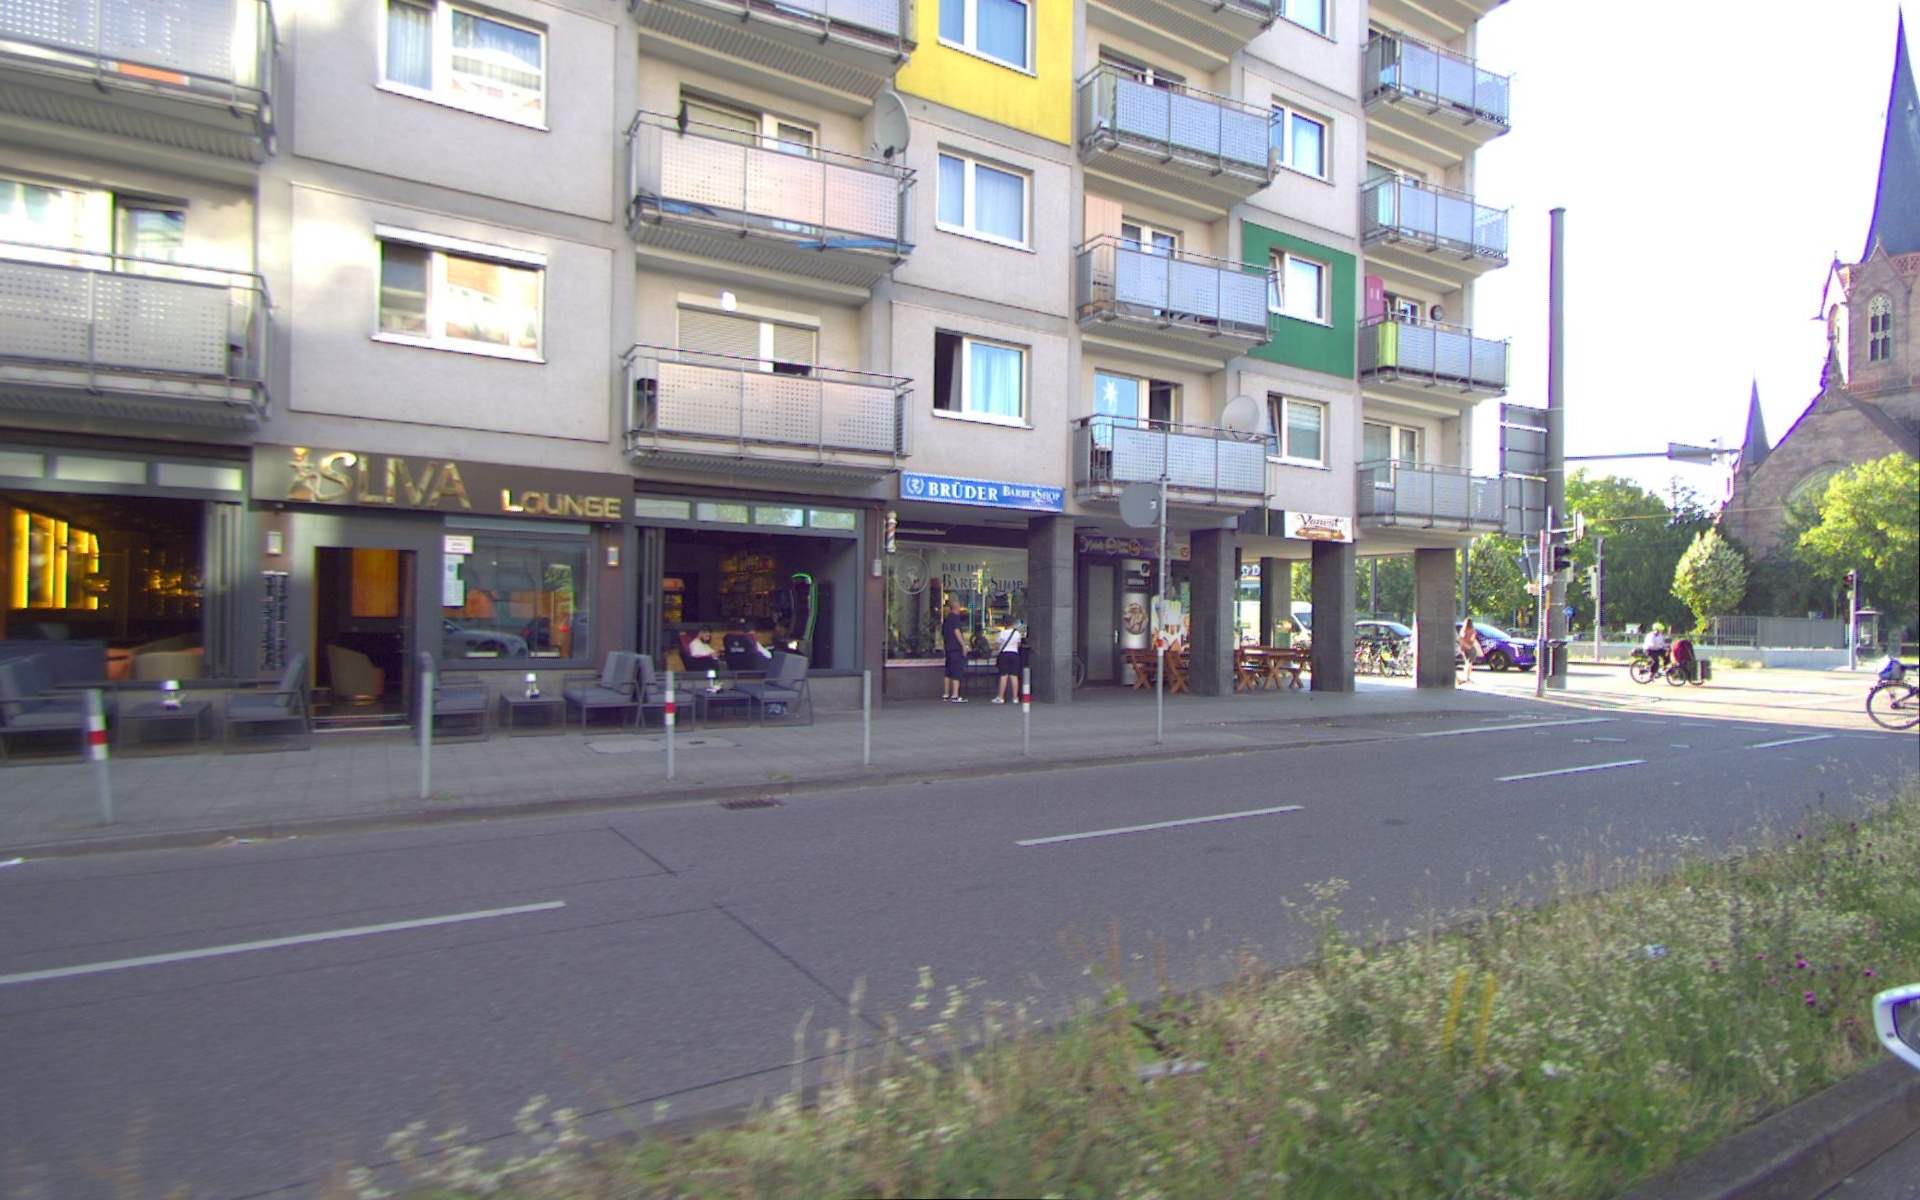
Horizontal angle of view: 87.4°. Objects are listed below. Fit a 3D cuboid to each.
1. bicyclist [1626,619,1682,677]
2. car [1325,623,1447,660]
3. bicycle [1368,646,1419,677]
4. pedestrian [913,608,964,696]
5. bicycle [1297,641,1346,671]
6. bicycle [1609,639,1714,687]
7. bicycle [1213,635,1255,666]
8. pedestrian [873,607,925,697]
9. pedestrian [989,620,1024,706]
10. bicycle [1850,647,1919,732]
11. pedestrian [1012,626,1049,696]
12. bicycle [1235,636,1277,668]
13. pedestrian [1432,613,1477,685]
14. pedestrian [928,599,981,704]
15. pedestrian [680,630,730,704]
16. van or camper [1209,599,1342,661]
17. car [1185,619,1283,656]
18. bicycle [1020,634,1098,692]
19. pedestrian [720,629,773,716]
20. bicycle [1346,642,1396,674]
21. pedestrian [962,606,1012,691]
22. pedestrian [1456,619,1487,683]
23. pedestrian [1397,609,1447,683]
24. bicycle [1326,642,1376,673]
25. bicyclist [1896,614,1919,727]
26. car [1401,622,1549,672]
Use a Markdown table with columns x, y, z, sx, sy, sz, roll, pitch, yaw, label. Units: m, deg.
| x | y | z | sx | sy | sz | roll | pitch | yaw | label |
| --- | --- | --- | --- | --- | --- | --- | --- | --- | --- |
| 18.690 | 1.283 | 27.042 | 1.149 | 1.506 | 0.874 | 1 | -1 | -32 | bicyclist |
| 17.660 | 1.695 | 41.840 | 1.938 | 1.428 | 4.461 | 1 | -1 | -31 | car |
| 12.604 | 1.785 | 29.176 | 1.684 | 0.851 | 0.493 | 1 | -1 | -32 | bicycle |
| -0.399 | 0.960 | 18.819 | 0.778 | 1.599 | 0.558 | 1 | -1 | -30 | pedestrian |
| 11.249 | 1.732 | 31.259 | 1.684 | 0.919 | 0.493 | 1 | -1 | -32 | bicycle |
| 18.777 | 1.657 | 26.918 | 1.149 | 1.183 | 2.032 | 1 | -1 | -32 | bicycle |
| 9.461 | 1.725 | 34.610 | 0.491 | 1.049 | 1.928 | 0 | -1 | 45 | bicycle |
| -1.121 | 0.936 | 18.341 | 0.778 | 1.599 | 0.558 | 1 | -1 | -30 | pedestrian |
| 0.773 | 1.037 | 16.734 | 0.472 | 1.402 | 0.484 | 1 | -1 | -10 | pedestrian |
| 14.370 | 1.324 | 14.756 | 0.725 | 1.204 | 1.818 | 1 | -1 | -31 | bicycle |
| 1.296 | 1.104 | 18.460 | 0.522 | 1.256 | 0.556 | 1 | -1 | -16 | pedestrian |
| 9.967 | 1.731 | 33.798 | 0.491 | 1.049 | 1.928 | 0 | -1 | 45 | bicycle |
| 12.201 | 1.196 | 24.797 | 0.664 | 1.731 | 0.752 | 1 | -1 | -22 | pedestrian |
| -0.082 | 0.855 | 16.894 | 0.764 | 1.723 | 0.561 | 0 | -1 | 13 | pedestrian |
| -3.893 | 1.003 | 15.340 | 0.544 | 1.094 | 0.521 | 0 | -1 | 37 | pedestrian |
| 13.252 | 1.238 | 42.562 | 2.139 | 2.448 | 5.397 | 1 | -1 | -29 | van or camper |
| 13.322 | 1.807 | 49.095 | 2.096 | 1.694 | 4.433 | 1 | -1 | -30 | car |
| 1.939 | 1.221 | 19.612 | 1.441 | 1.095 | 0.584 | 2 | -2 | -33 | bicycle |
| -3.069 | 1.025 | 14.455 | 0.513 | 1.219 | 0.552 | 0 | -1 | 28 | pedestrian |
| 12.238 | 1.713 | 29.867 | 1.684 | 0.919 | 0.493 | 1 | -1 | -32 | bicycle |
| 0.526 | 0.930 | 19.493 | 0.780 | 1.599 | 0.557 | 1 | -1 | -36 | pedestrian |
| 13.443 | 1.323 | 26.412 | 0.566 | 1.663 | 0.468 | 1 | -1 | -11 | pedestrian |
| 11.354 | 1.109 | 24.709 | 0.664 | 1.781 | 0.921 | 1 | -1 | -22 | pedestrian |
| 11.815 | 1.725 | 30.337 | 1.684 | 0.919 | 0.493 | 1 | -1 | -32 | bicycle |
| 14.654 | 1.051 | 15.018 | 0.891 | 1.682 | 0.778 | 1 | -1 | -33 | bicyclist |
| 17.938 | 1.595 | 35.221 | 1.813 | 1.594 | 4.384 | 1 | -1 | -29 | car |
